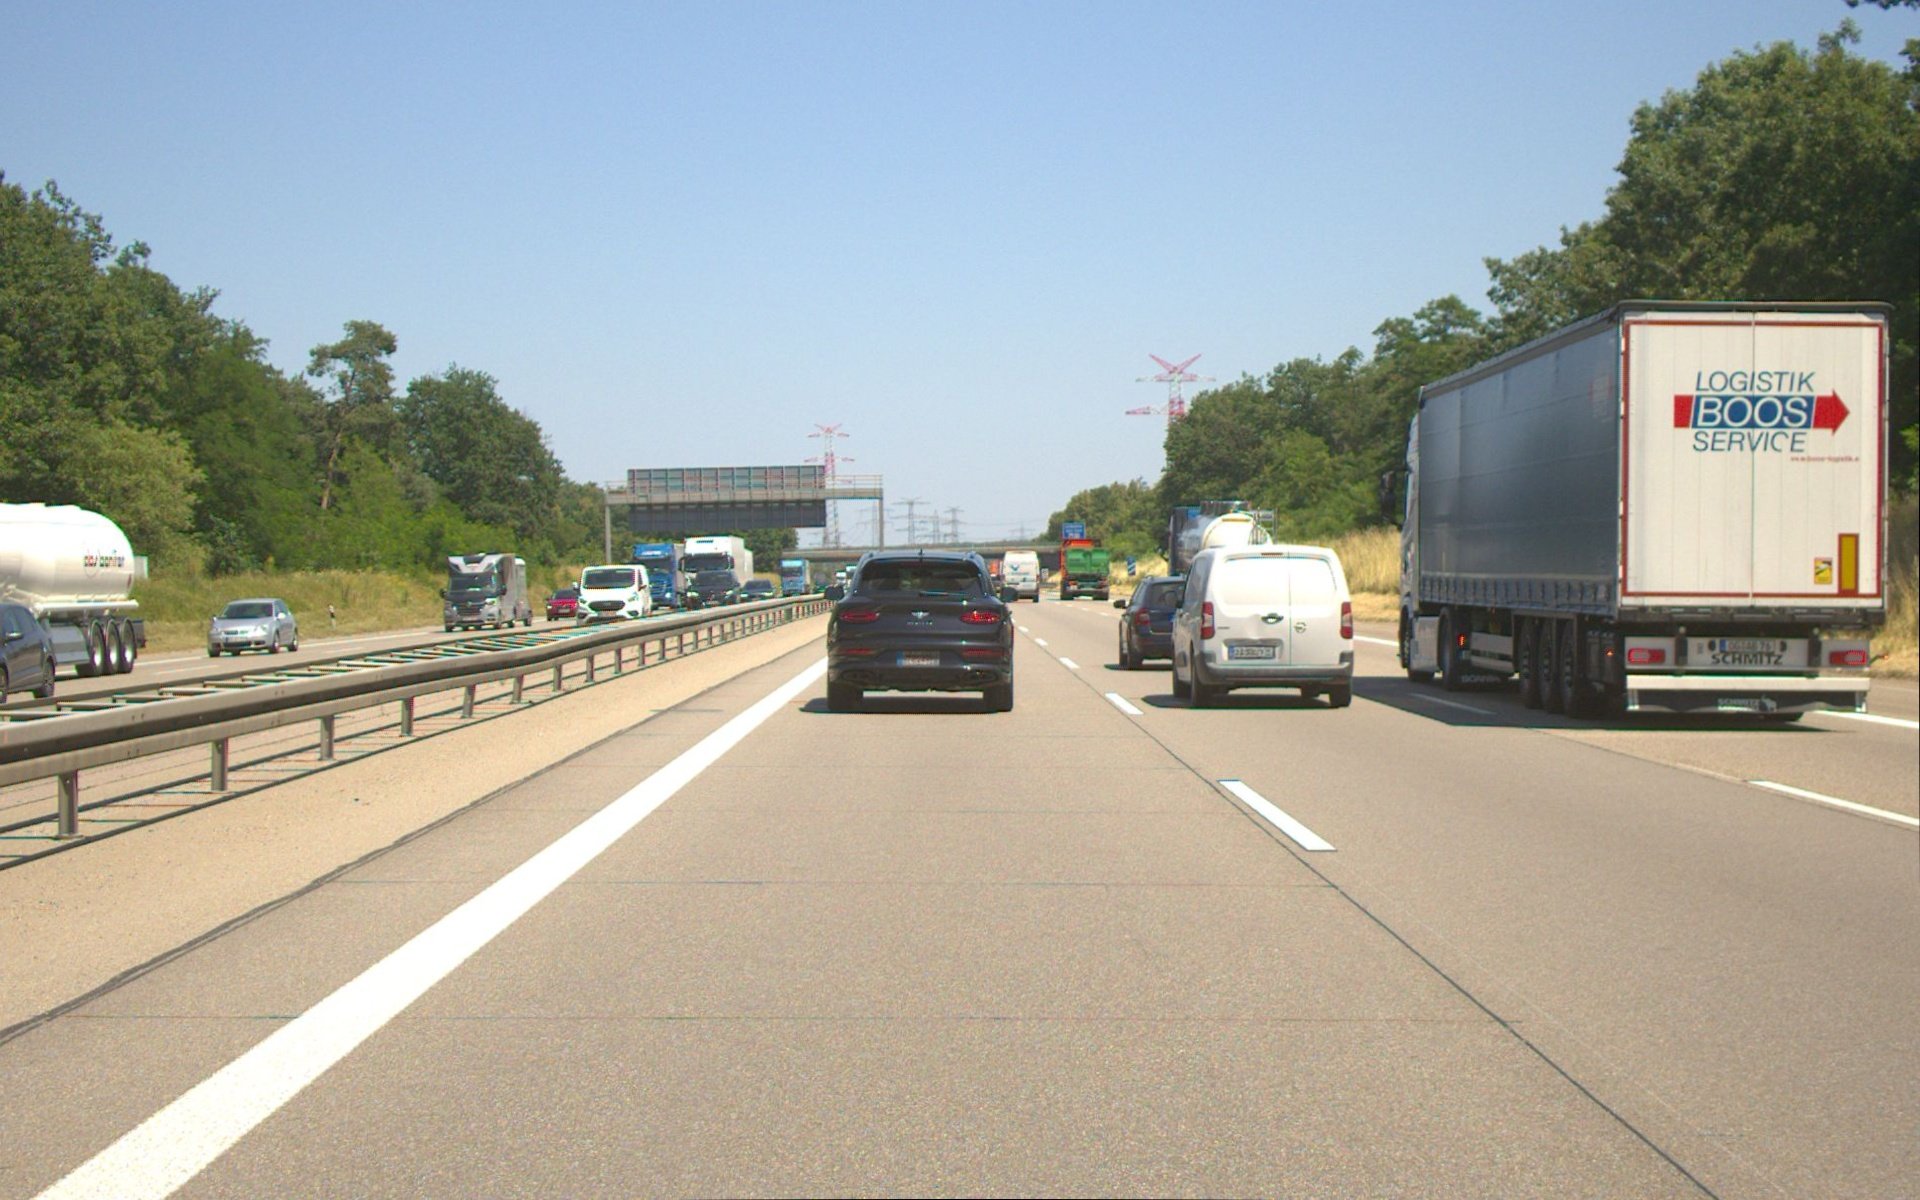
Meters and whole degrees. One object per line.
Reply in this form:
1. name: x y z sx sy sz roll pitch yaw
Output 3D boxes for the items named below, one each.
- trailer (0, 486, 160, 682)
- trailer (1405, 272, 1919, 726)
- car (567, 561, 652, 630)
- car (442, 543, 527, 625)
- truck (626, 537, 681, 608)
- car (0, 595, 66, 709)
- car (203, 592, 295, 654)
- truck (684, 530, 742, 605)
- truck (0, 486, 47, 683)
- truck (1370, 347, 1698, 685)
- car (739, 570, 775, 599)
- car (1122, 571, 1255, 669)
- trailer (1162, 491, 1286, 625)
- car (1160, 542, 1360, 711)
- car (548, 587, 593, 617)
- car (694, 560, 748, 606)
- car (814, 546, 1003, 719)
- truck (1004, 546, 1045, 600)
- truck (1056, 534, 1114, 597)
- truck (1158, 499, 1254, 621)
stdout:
1. trailer: -18.027 -0.288 65.594 2.682 3.422 11.800 -3 1 0
2. trailer: 7.644 -0.985 38.888 3.286 4.205 13.565 1 0 -1
3. car: -10.560 -0.166 103.962 1.995 1.940 5.743 -3 1 -1
4. car: -17.604 -0.605 127.461 2.213 2.848 6.454 -3 1 -1
5. truck: -18.654 -1.692 209.394 2.668 4.155 6.189 -3 1 -1
6. car: -13.548 0.725 46.899 1.633 1.468 3.937 -3 1 0
7. car: -18.498 0.578 89.518 1.569 1.460 4.036 -3 1 -1
8. truck: -13.669 -1.824 190.368 2.668 3.976 6.341 -3 1 -1
9. truck: -18.032 -0.219 59.536 2.682 3.422 6.145 -3 1 0
10. truck: 7.565 -1.073 46.165 3.286 4.205 6.008 1 0 -1
11. car: -10.751 -0.829 182.429 1.617 1.477 4.625 -3 1 -1
12. car: 3.550 0.282 53.963 1.774 1.467 3.873 0 0 -1
13. trailer: 7.979 -1.260 105.326 2.682 3.824 12.010 1 0 -1
14. car: 3.412 0.270 39.901 1.814 1.821 5.111 0 0 -1
15. car: -17.959 0.079 158.658 1.639 1.271 4.133 -3 1 -1
16. car: -10.214 -0.754 147.133 1.876 1.841 5.834 -3 1 0
17. car: -0.578 0.289 38.455 1.940 1.746 5.814 0 1 -1
18. truck: 3.518 -1.484 188.755 2.060 2.904 7.003 0 0 -1
19. truck: 7.580 -2.104 209.223 2.989 3.716 10.090 1 0 -1
20. truck: 7.910 -1.290 111.038 2.682 3.824 4.444 1 0 -1
